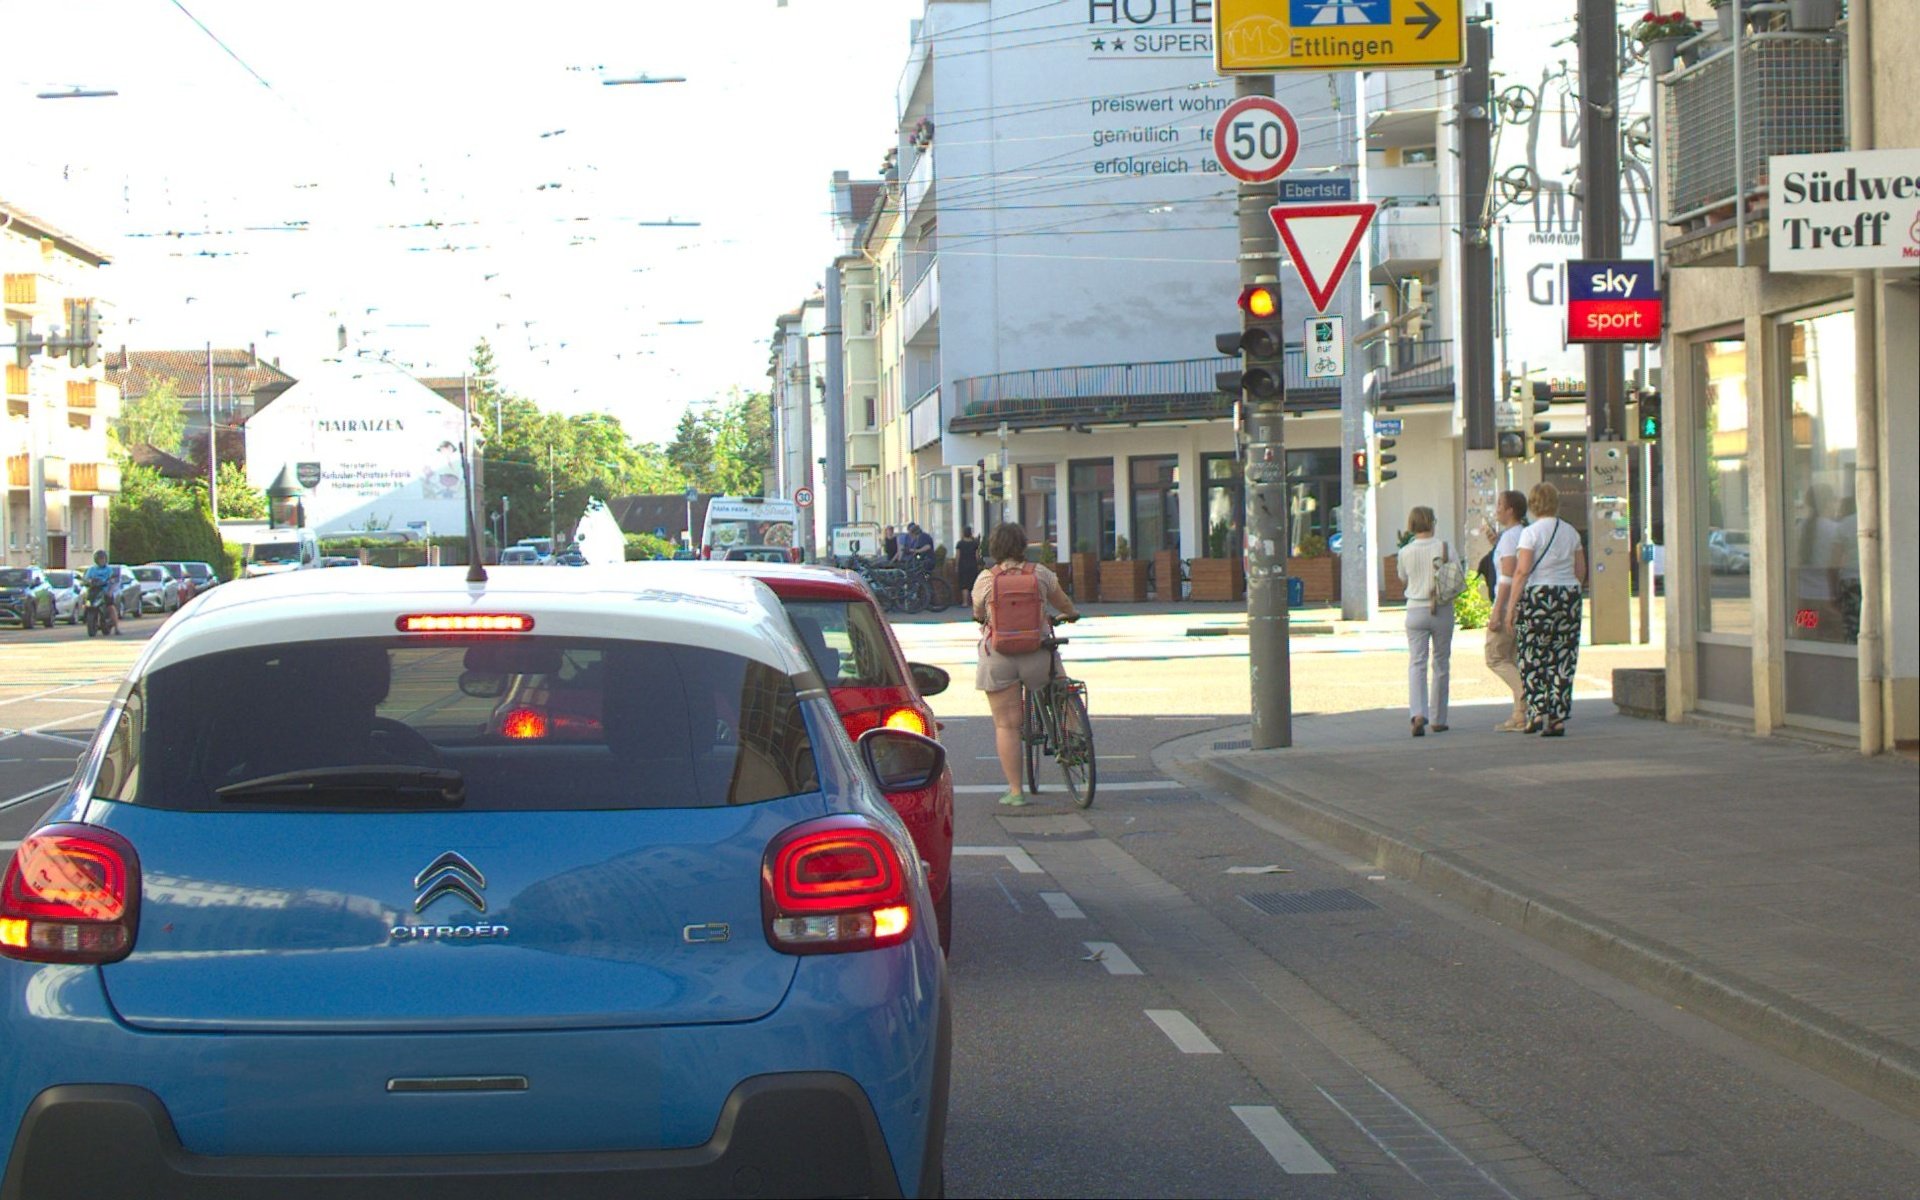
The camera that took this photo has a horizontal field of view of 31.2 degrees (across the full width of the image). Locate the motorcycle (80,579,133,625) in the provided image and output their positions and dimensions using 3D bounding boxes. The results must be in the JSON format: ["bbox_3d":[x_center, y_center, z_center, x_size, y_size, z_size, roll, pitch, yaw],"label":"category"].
[{"bbox_3d":[-16.689,0.029,67.277,0.615,0.861,1.671,-1,1,0],"label":"motorcycle"}]

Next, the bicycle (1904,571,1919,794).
[{"bbox_3d":[4.910,0.406,15.773,0.530,1.068,1.811,-1,1,-4],"label":"bicycle"}]

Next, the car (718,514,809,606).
[{"bbox_3d":[-3.866,-0.787,67.514,1.732,1.744,3.214,0,1,-4],"label":"car"}]

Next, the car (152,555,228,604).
[{"bbox_3d":[-26.000,-0.717,116.161,1.870,1.568,4.001,-1,1,-4],"label":"car"}]

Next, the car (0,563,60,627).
[{"bbox_3d":[-23.867,-0.127,85.958,1.910,1.492,4.001,-1,1,-5],"label":"car"}]

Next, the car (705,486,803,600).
[{"bbox_3d":[-4.358,-1.193,72.424,1.993,2.317,4.001,0,1,-4],"label":"car"}]

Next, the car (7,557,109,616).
[{"bbox_3d":[-24.134,-0.375,92.094,1.910,1.492,4.001,-1,1,-5],"label":"car"}]

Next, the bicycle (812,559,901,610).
[{"bbox_3d":[-2.057,-0.312,68.405,1.720,0.953,0.702,-1,1,1],"label":"bicycle"}]

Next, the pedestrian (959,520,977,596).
[{"bbox_3d":[0.170,-0.857,70.136,0.284,1.550,0.305,-1,1,-9],"label":"pedestrian"}]

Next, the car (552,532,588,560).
[{"bbox_3d":[-24.465,-3.406,215.484,1.993,1.678,4.001,-2,1,-10],"label":"car"}]

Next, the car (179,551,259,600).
[{"bbox_3d":[-26.193,-0.881,121.585,2.030,1.614,4.511,-1,1,-3],"label":"car"}]

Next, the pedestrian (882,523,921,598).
[{"bbox_3d":[-1.233,-0.834,72.505,0.646,1.550,0.493,-2,1,-22],"label":"pedestrian"}]

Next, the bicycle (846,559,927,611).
[{"bbox_3d":[-1.413,-0.286,65.987,1.504,0.953,0.702,-1,1,1],"label":"bicycle"}]

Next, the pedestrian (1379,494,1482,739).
[{"bbox_3d":[3.305,0.104,24.194,0.541,1.666,0.624,-3,3,-2],"label":"pedestrian"}]

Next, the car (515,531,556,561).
[{"bbox_3d":[-23.144,-2.951,187.426,2.021,1.520,4.001,-1,1,-4],"label":"car"}]

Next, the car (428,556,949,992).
[{"bbox_3d":[-0.941,0.564,13.638,1.738,1.415,4.000,-1,1,-1],"label":"car"}]

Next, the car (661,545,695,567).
[{"bbox_3d":[-16.695,-2.617,203.459,1.754,1.255,3.833,-1,1,-7],"label":"car"}]

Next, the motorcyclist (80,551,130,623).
[{"bbox_3d":[-16.683,-0.255,67.117,0.719,1.373,0.911,-1,1,0],"label":"motorcyclist"}]

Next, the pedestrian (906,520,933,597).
[{"bbox_3d":[-0.820,-0.847,69.743,0.491,1.550,0.384,-1,1,-3],"label":"pedestrian"}]

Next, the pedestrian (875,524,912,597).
[{"bbox_3d":[-1.436,-0.856,74.309,0.646,1.550,0.493,-2,1,-22],"label":"pedestrian"}]

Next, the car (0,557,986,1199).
[{"bbox_3d":[-1.054,0.649,7.415,1.743,1.457,4.001,0,1,-7],"label":"car"}]

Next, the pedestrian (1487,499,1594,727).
[{"bbox_3d":[3.969,0.077,23.527,0.541,1.502,0.611,-3,3,-2],"label":"pedestrian"}]

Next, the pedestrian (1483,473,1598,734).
[{"bbox_3d":[3.821,0.017,22.656,0.541,1.666,0.650,-3,1,-2],"label":"pedestrian"}]

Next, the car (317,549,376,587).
[{"bbox_3d":[-25.760,-1.358,144.485,2.021,1.520,4.001,-1,1,-4],"label":"car"}]

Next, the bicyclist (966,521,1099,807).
[{"bbox_3d":[0.423,0.364,20.282,0.726,1.640,0.790,-1,1,-1],"label":"bicyclist"}]

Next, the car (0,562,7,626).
[{"bbox_3d":[-23.341,-0.101,79.175,1.910,1.492,4.001,-1,1,-5],"label":"car"}]

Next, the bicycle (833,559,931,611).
[{"bbox_3d":[-1.516,-0.300,67.046,1.874,0.953,0.702,-1,1,1],"label":"bicycle"}]

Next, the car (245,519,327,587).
[{"bbox_3d":[-23.370,-1.648,119.298,2.206,2.243,4.678,-1,1,-4],"label":"car"}]

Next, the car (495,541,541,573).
[{"bbox_3d":[-21.752,-2.124,169.395,2.021,1.520,4.001,-1,1,-4],"label":"car"}]

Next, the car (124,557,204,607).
[{"bbox_3d":[-25.693,-0.601,111.069,1.910,1.492,4.001,-1,1,-5],"label":"car"}]

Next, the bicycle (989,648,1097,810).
[{"bbox_3d":[0.483,0.750,20.590,0.498,0.861,1.749,-1,1,-3],"label":"bicycle"}]

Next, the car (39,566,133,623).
[{"bbox_3d":[-24.791,-0.180,97.670,1.910,1.492,4.001,-1,1,-5],"label":"car"}]

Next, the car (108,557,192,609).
[{"bbox_3d":[-24.969,-0.541,106.070,1.910,1.492,4.001,-1,1,-5],"label":"car"}]
